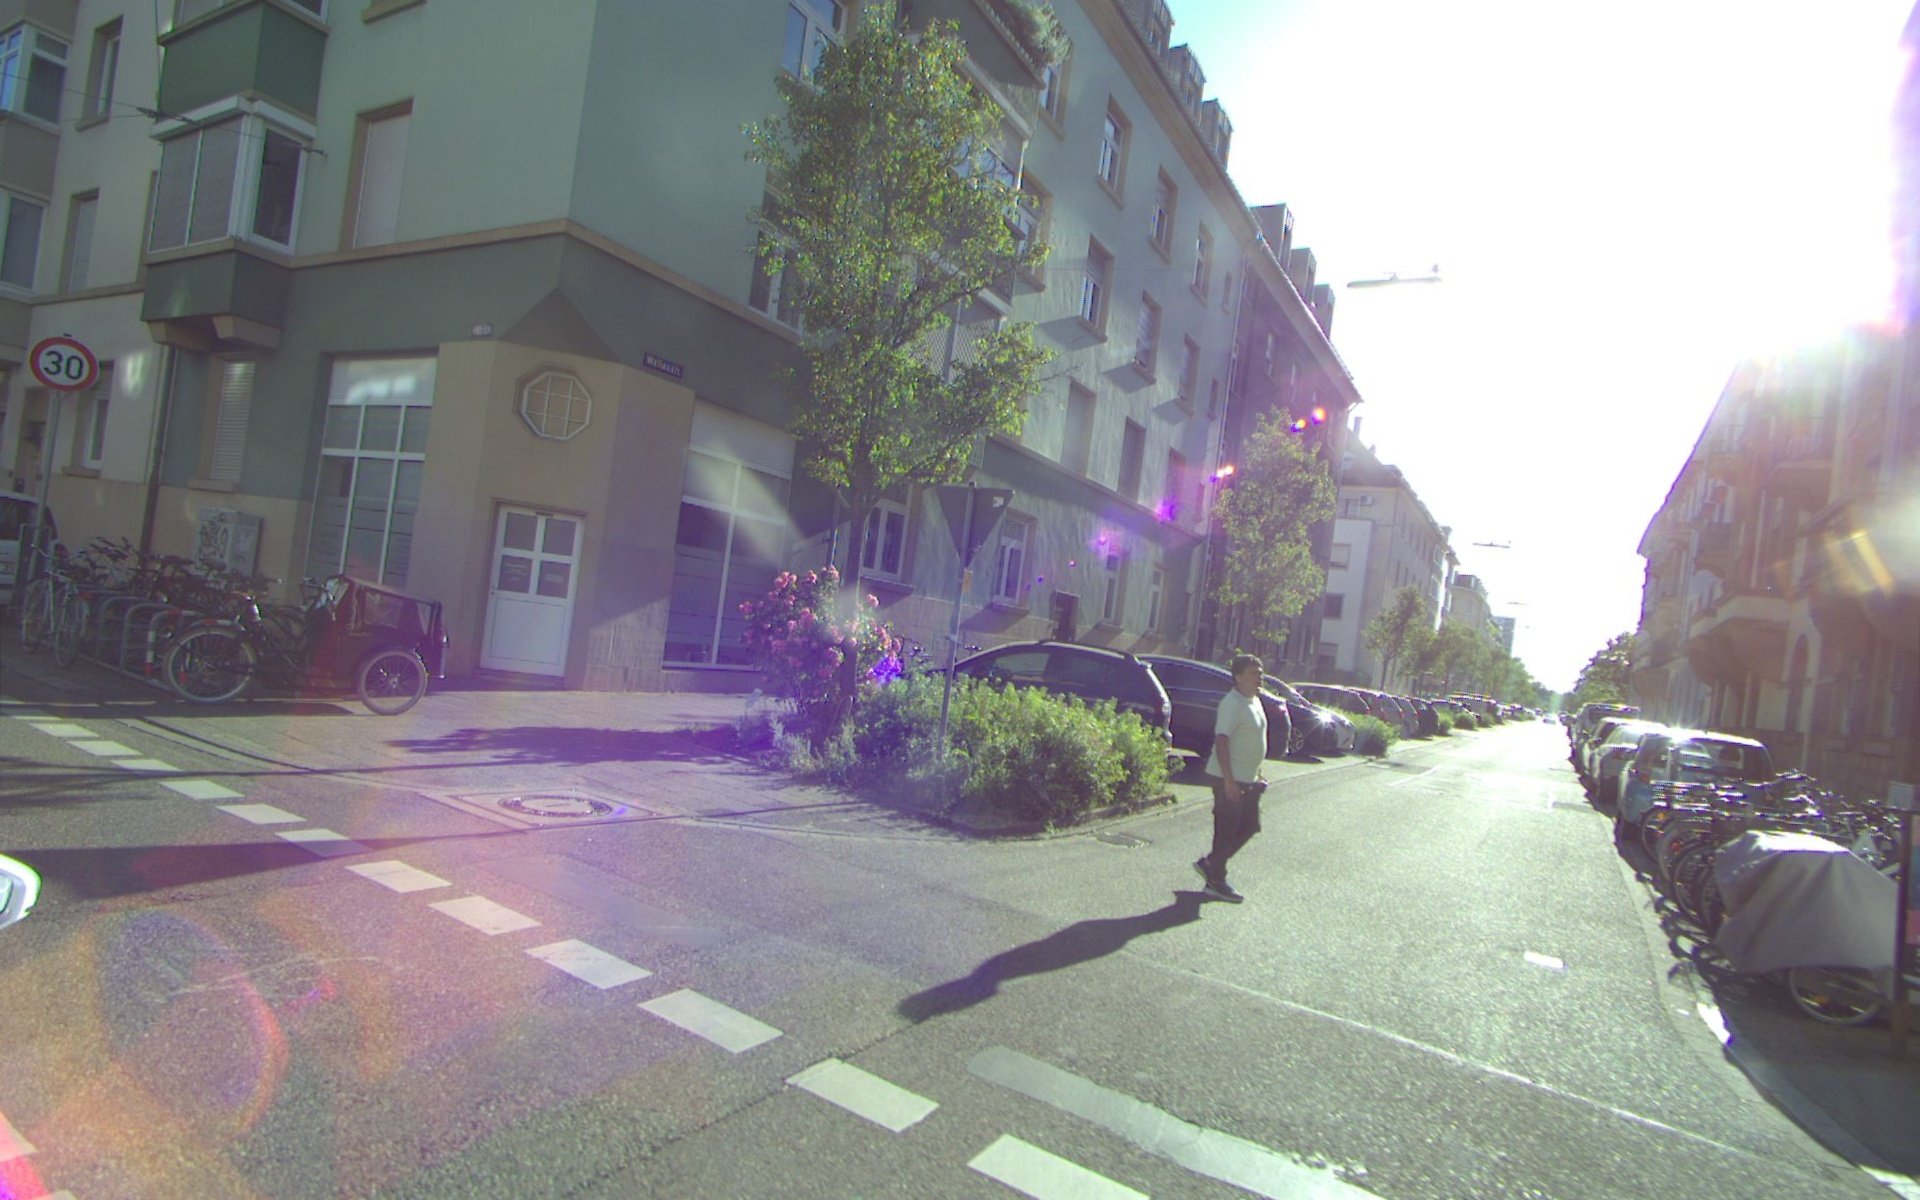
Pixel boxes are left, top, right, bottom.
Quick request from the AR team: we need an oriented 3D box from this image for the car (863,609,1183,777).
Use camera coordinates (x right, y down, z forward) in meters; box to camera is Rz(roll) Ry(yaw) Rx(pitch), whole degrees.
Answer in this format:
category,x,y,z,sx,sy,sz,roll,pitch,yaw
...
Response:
category,x,y,z,sx,sy,sz,roll,pitch,yaw
car,0.857,1.234,13.969,4.001,1.598,1.642,8,-1,4

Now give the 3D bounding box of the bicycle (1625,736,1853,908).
category,x,y,z,sx,sy,sz,roll,pitch,yaw
bicycle,8.184,2.296,10.672,1.699,1.398,0.628,8,0,32

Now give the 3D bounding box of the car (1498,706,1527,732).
category,x,y,z,sx,sy,sz,roll,pitch,yaw
car,45.779,9.829,83.334,1.783,1.847,3.995,8,-1,31

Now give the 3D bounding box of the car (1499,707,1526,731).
category,x,y,z,sx,sy,sz,roll,pitch,yaw
car,49.398,10.629,89.944,1.783,1.847,3.995,8,-1,31

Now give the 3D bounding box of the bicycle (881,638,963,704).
category,x,y,z,sx,sy,sz,roll,pitch,yaw
bicycle,-0.656,1.301,18.168,0.448,1.075,1.899,8,-1,29

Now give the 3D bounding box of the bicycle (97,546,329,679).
category,x,y,z,sx,sy,sz,roll,pitch,yaw
bicycle,-7.268,0.142,9.881,0.461,1.170,1.723,8,2,32

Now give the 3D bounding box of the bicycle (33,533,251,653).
category,x,y,z,sx,sy,sz,roll,pitch,yaw
bicycle,-8.778,-0.045,10.878,0.461,1.170,1.723,8,2,32

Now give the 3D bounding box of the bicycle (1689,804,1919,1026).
category,x,y,z,sx,sy,sz,roll,pitch,yaw
bicycle,5.729,2.015,6.338,1.699,1.062,0.468,8,0,32

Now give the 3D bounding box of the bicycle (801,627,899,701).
category,x,y,z,sx,sy,sz,roll,pitch,yaw
bicycle,-1.742,1.069,16.314,0.448,1.075,1.899,8,-1,29

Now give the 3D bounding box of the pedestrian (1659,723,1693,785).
category,x,y,z,sx,sy,sz,roll,pitch,yaw
pedestrian,22.217,4.764,31.239,0.598,1.818,0.730,8,0,31

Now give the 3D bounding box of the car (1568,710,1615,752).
category,x,y,z,sx,sy,sz,roll,pitch,yaw
car,33.236,6.852,53.004,1.783,1.847,3.995,8,-1,31

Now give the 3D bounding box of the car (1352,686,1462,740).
category,x,y,z,sx,sy,sz,roll,pitch,yaw
car,19.138,4.807,43.244,3.924,1.623,1.763,8,-1,16

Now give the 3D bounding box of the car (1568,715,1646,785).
category,x,y,z,sx,sy,sz,roll,pitch,yaw
car,19.144,4.381,29.892,1.591,1.651,3.995,8,-1,31

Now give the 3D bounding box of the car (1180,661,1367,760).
category,x,y,z,sx,sy,sz,roll,pitch,yaw
car,7.417,2.571,24.019,3.924,1.659,1.763,8,-1,16

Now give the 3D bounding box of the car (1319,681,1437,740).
category,x,y,z,sx,sy,sz,roll,pitch,yaw
car,16.208,4.258,39.214,3.924,1.623,1.763,8,-1,16

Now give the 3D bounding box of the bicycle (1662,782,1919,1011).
category,x,y,z,sx,sy,sz,roll,pitch,yaw
bicycle,5.897,2.000,6.834,1.699,1.168,0.468,8,0,32

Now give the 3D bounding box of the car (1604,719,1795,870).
category,x,y,z,sx,sy,sz,roll,pitch,yaw
car,10.046,2.549,13.908,1.613,1.514,3.499,8,-1,31

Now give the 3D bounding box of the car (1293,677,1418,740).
category,x,y,z,sx,sy,sz,roll,pitch,yaw
car,14.376,3.923,36.809,3.924,1.623,1.763,8,-1,16

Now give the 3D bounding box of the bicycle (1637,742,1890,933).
category,x,y,z,sx,sy,sz,roll,pitch,yaw
bicycle,7.621,2.214,9.643,1.699,1.398,0.491,8,0,32

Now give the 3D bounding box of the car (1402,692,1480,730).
category,x,y,z,sx,sy,sz,roll,pitch,yaw
car,29.233,6.726,61.253,3.924,1.623,1.763,8,-1,16

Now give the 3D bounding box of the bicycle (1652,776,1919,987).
category,x,y,z,sx,sy,sz,roll,pitch,yaw
bicycle,6.431,2.112,7.712,1.699,1.168,0.544,8,0,32

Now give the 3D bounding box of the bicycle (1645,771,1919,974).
category,x,y,z,sx,sy,sz,roll,pitch,yaw
bicycle,6.714,2.159,8.208,1.699,1.168,0.544,8,0,32

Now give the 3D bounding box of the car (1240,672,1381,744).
category,x,y,z,sx,sy,sz,roll,pitch,yaw
car,10.946,3.349,31.676,3.924,1.560,1.763,8,-1,16

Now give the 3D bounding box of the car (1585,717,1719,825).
category,x,y,z,sx,sy,sz,roll,pitch,yaw
car,13.248,3.199,19.466,1.667,1.569,4.065,8,-1,31

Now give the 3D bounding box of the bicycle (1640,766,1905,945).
category,x,y,z,sx,sy,sz,roll,pitch,yaw
bicycle,7.323,2.269,9.180,1.699,1.168,0.544,8,0,32

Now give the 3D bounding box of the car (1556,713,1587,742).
category,x,y,z,sx,sy,sz,roll,pitch,yaw
car,46.820,9.765,77.106,1.783,1.847,3.995,8,-1,31

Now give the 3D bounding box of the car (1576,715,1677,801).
category,x,y,z,sx,sy,sz,roll,pitch,yaw
car,16.223,3.780,24.652,1.667,1.651,3.995,8,-1,31

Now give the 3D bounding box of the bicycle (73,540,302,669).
category,x,y,z,sx,sy,sz,roll,pitch,yaw
bicycle,-7.729,0.068,10.151,0.461,1.170,1.723,8,2,32

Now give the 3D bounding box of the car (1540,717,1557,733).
category,x,y,z,sx,sy,sz,roll,pitch,yaw
car,79.958,16.934,136.767,1.783,1.847,3.995,8,-1,31

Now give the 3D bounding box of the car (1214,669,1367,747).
category,x,y,z,sx,sy,sz,roll,pitch,yaw
car,9.485,3.063,29.123,3.924,1.560,1.763,8,-1,16

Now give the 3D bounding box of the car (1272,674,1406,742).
category,x,y,z,sx,sy,sz,roll,pitch,yaw
car,12.653,3.587,33.824,3.924,1.623,1.763,8,-1,16

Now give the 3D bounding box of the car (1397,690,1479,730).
category,x,y,z,sx,sy,sz,roll,pitch,yaw
car,27.790,6.388,58.584,3.924,1.623,1.763,8,-1,16

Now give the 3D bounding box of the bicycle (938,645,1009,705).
category,x,y,z,sx,sy,sz,roll,pitch,yaw
bicycle,0.290,1.510,19.964,0.448,1.075,1.899,8,-1,29

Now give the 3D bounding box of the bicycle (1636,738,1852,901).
category,x,y,z,sx,sy,sz,roll,pitch,yaw
bicycle,8.651,2.384,11.190,1.699,1.398,0.544,8,0,32

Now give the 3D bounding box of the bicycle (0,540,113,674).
category,x,y,z,sx,sy,sz,roll,pitch,yaw
bicycle,-8.649,0.047,9.564,1.700,1.057,0.353,8,0,34

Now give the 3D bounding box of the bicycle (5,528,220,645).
category,x,y,z,sx,sy,sz,roll,pitch,yaw
bicycle,-9.332,-0.110,11.149,0.461,1.170,1.723,8,2,32

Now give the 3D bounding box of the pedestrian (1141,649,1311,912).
category,x,y,z,sx,sy,sz,roll,pitch,yaw
pedestrian,1.858,1.229,7.010,0.694,1.650,0.728,5,-4,45

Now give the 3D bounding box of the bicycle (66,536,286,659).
category,x,y,z,sx,sy,sz,roll,pitch,yaw
bicycle,-8.218,0.002,10.624,0.461,1.170,1.723,8,2,32

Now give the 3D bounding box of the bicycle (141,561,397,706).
category,x,y,z,sx,sy,sz,roll,pitch,yaw
bicycle,-6.256,0.310,9.225,0.461,1.170,1.843,8,2,32

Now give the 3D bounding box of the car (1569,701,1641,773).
category,x,y,z,sx,sy,sz,roll,pitch,yaw
car,22.927,4.820,35.893,1.783,2.144,3.995,8,-1,31

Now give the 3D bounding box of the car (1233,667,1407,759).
category,x,y,z,sx,sy,sz,roll,pitch,yaw
car,9.202,2.858,26.038,3.924,1.659,1.763,8,-1,16

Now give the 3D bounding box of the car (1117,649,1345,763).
category,x,y,z,sx,sy,sz,roll,pitch,yaw
car,5.727,2.217,21.630,4.367,1.659,1.845,8,-1,13

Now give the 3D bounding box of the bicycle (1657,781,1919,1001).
category,x,y,z,sx,sy,sz,roll,pitch,yaw
bicycle,6.154,2.069,7.257,1.699,1.168,0.468,8,0,32

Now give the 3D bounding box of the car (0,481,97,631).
category,x,y,z,sx,sy,sz,roll,pitch,yaw
car,-12.568,-0.731,12.361,3.934,1.651,1.786,7,-1,32

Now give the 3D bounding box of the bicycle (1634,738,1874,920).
category,x,y,z,sx,sy,sz,roll,pitch,yaw
bicycle,7.912,2.242,10.126,1.699,1.398,0.544,8,0,32

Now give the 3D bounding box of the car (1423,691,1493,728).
category,x,y,z,sx,sy,sz,roll,pitch,yaw
car,35.128,7.706,71.037,3.924,1.868,1.764,8,-1,11

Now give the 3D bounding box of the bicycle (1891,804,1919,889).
category,x,y,z,sx,sy,sz,roll,pitch,yaw
bicycle,11.352,2.910,11.583,0.481,0.889,1.726,8,-1,31

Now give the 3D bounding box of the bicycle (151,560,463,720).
category,x,y,z,sx,sy,sz,roll,pitch,yaw
bicycle,-5.659,0.355,8.876,0.834,1.169,2.087,8,1,32

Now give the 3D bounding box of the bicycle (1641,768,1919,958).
category,x,y,z,sx,sy,sz,roll,pitch,yaw
bicycle,7.008,2.209,8.694,1.699,1.168,0.544,8,0,32

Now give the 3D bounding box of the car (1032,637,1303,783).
category,x,y,z,sx,sy,sz,roll,pitch,yaw
car,3.325,1.723,16.438,3.924,1.659,1.764,8,-1,11

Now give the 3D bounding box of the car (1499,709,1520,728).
category,x,y,z,sx,sy,sz,roll,pitch,yaw
car,61.291,13.217,112.170,1.783,1.847,3.995,8,-1,31
